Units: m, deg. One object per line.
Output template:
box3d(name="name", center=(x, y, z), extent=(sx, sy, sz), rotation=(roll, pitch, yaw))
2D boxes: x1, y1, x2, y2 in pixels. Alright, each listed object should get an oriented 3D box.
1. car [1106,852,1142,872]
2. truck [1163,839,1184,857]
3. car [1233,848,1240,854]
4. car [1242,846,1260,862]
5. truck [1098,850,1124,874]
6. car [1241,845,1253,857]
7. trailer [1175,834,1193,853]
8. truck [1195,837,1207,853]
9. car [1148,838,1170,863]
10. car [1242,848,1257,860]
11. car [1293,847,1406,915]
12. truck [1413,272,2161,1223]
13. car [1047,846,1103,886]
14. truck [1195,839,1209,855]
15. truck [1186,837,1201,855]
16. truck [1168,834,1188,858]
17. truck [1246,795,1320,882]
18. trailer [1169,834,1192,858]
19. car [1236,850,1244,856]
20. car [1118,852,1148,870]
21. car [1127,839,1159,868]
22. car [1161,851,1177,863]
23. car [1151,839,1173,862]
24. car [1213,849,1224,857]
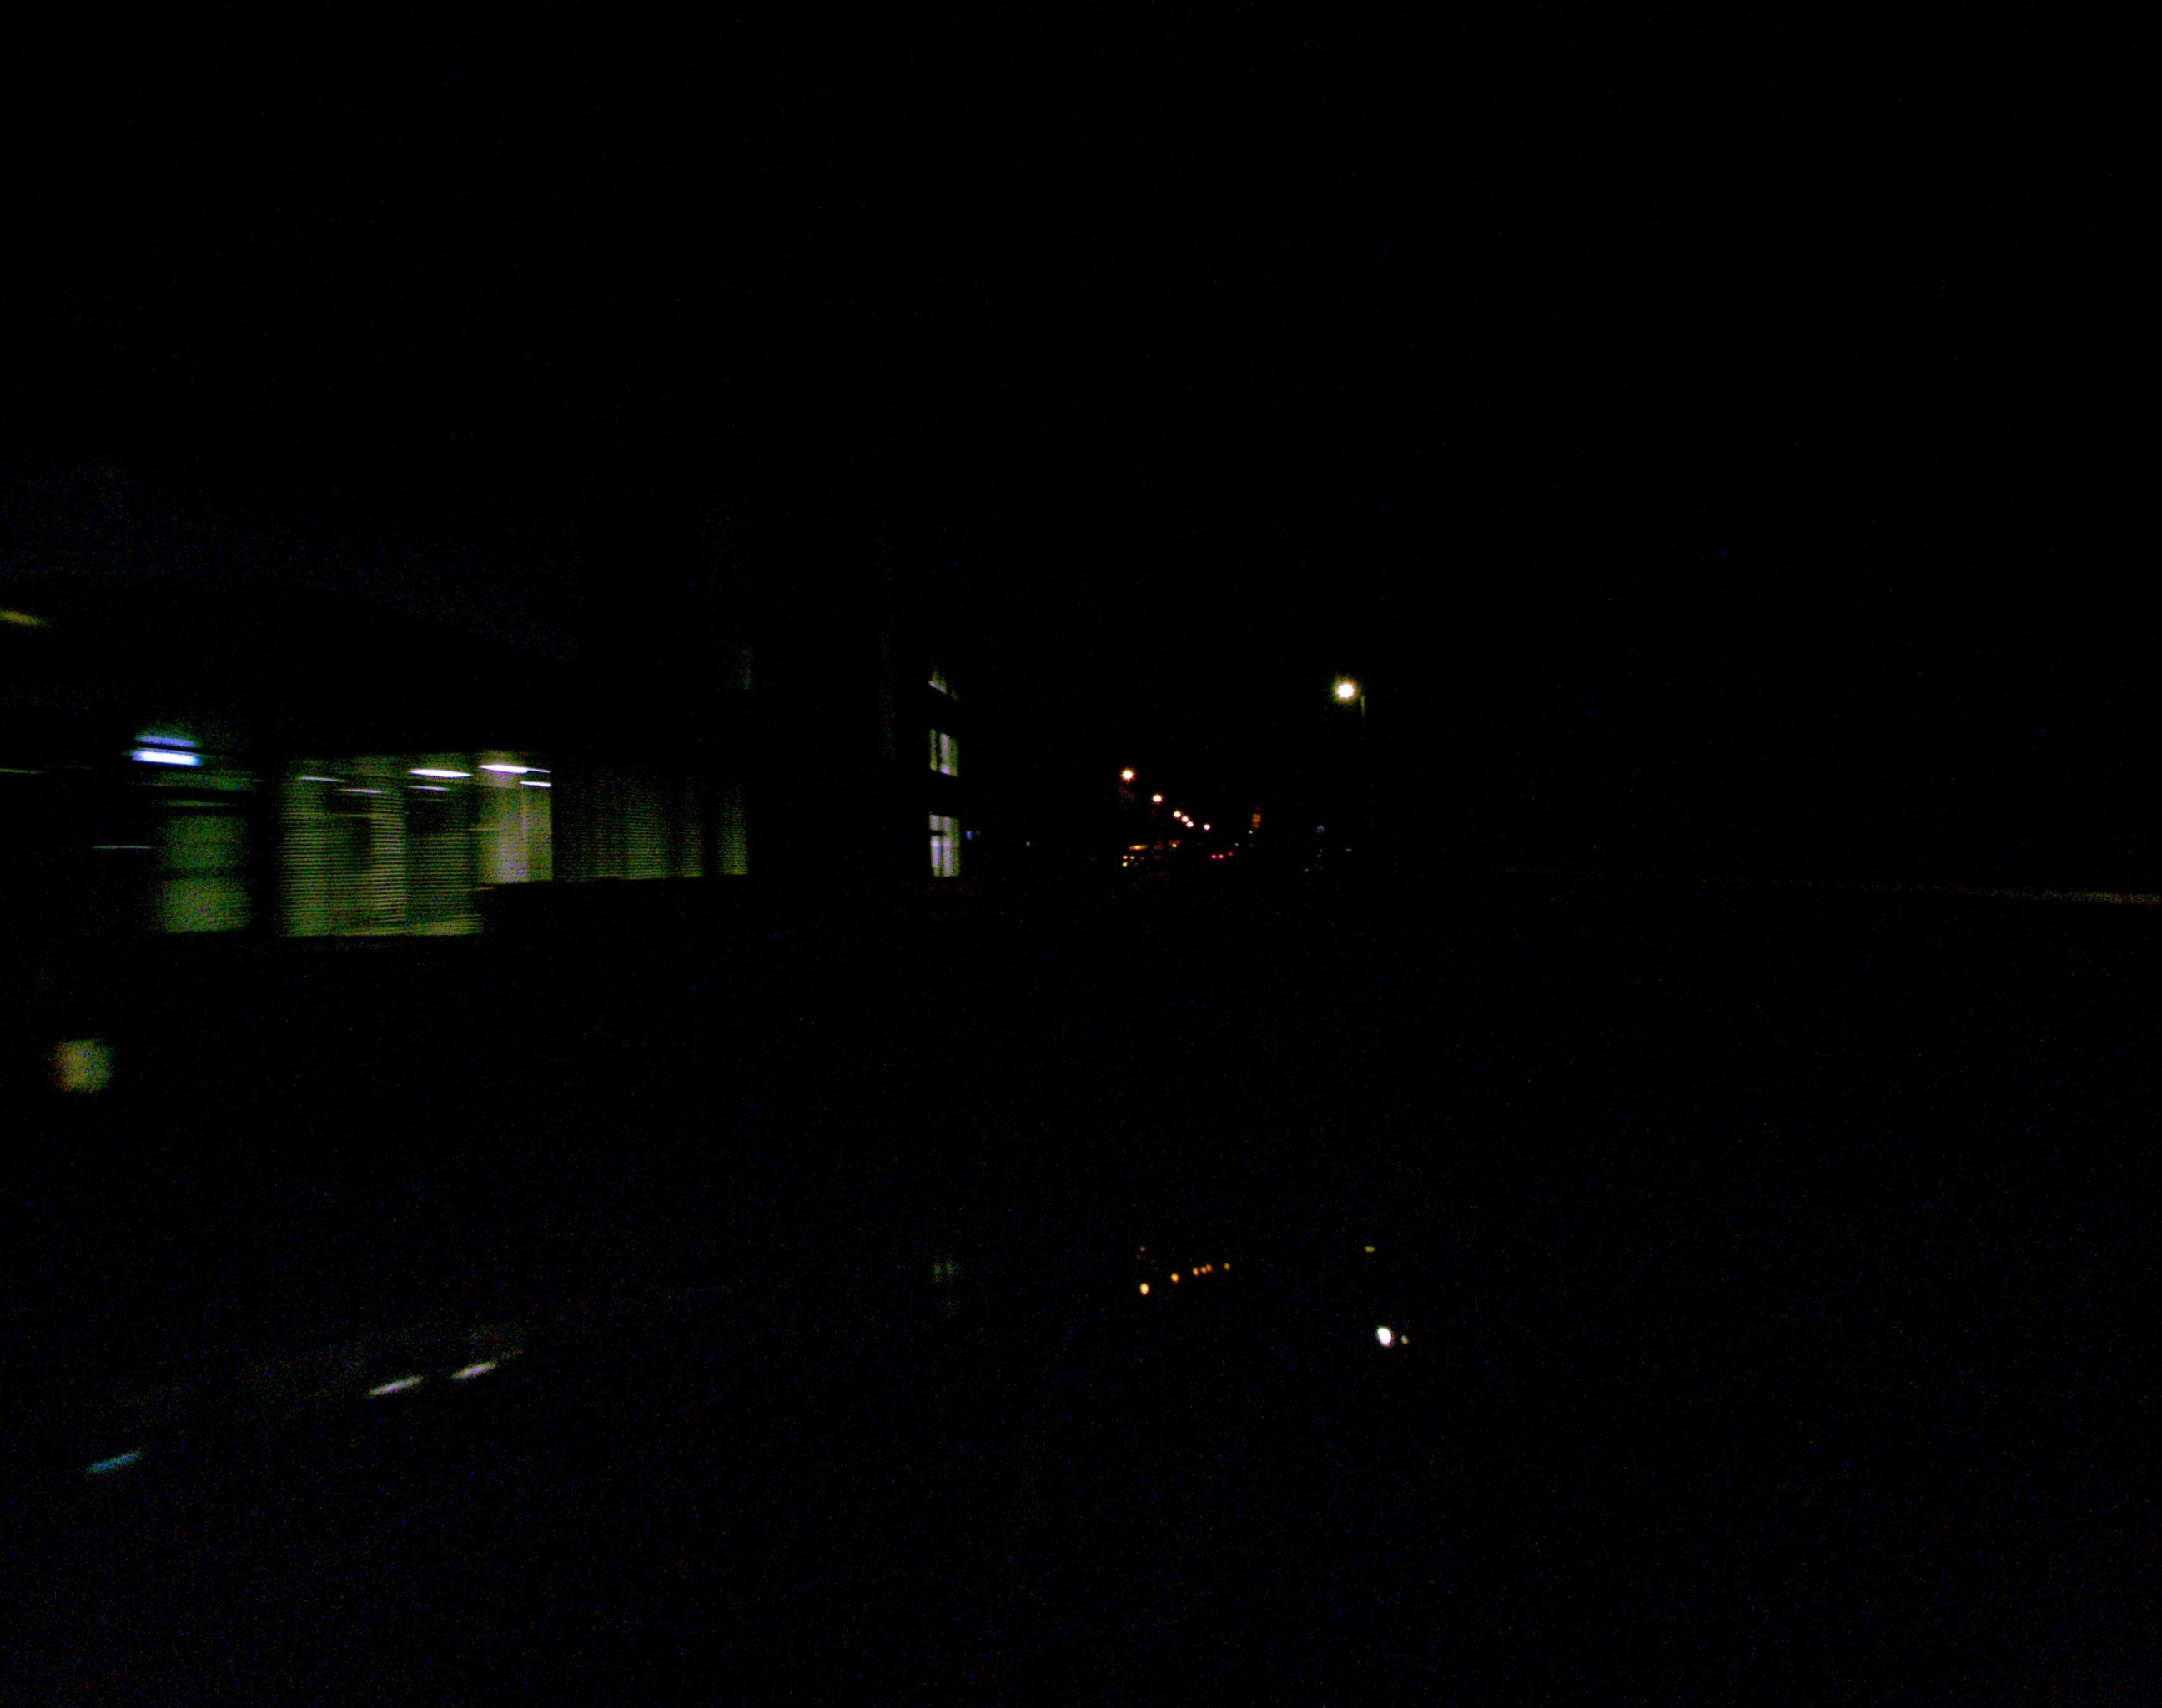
box3d(name="car", center=(3.403, 0.578, 58.979), extent=(1.949, 1.480, 5.015), rotation=(-1, 0, 13))
box3d(name="truck", center=(13.968, -0.853, 113.885), extent=(2.405, 2.579, 6.603), rotation=(-1, 0, 13))
box3d(name="car", center=(38.342, -0.863, 187.521), extent=(1.689, 1.357, 3.882), rotation=(-3, 0, 11))
box3d(name="car", center=(20.416, -0.053, 91.458), extent=(1.816, 1.838, 4.418), rotation=(-1, 1, 10))
box3d(name="truck", center=(2.168, 0.549, 54.194), extent=(1.372, 1.635, 3.815), rotation=(-1, 1, 10))
box3d(name="car", center=(25.516, -0.456, 116.868), extent=(1.807, 1.788, 4.882), rotation=(-1, 0, 11))
box3d(name="trailer", center=(20.274, -2.002, 148.954), extent=(2.883, 3.504, 8.290), rotation=(-1, 0, 11))
box3d(name="truck", center=(33.031, -2.520, 208.599), extent=(2.658, 3.850, 10.241), rotation=(-2, -2, 11))
box3d(name="car", center=(8.810, -0.383, 85.417), extent=(2.132, 2.556, 5.913), rotation=(-4, 0, 8))
box3d(name="car", center=(23.541, -0.001, 106.083), extent=(1.950, 1.678, 4.820), rotation=(-1, 0, 13))
box3d(name="car", center=(7.558, 0.686, 21.925), extent=(1.947, 1.707, 5.200), rotation=(-1, 0, 7))
box3d(name="truck", center=(6.310, -0.495, 7.182), extent=(2.778, 4.096, 9.343), rotation=(-1, 0, 4))
box3d(name="car", center=(-0.229, 0.585, 40.037), extent=(1.997, 2.002, 4.915), rotation=(-1, 0, 11))
box3d(name="truck", center=(35.067, -2.175, 220.011), extent=(3.070, 4.449, 5.640), rotation=(-2, 1, 15))
box3d(name="truck", center=(26.294, -1.896, 177.246), extent=(2.795, 3.946, 9.829), rotation=(-2, -1, 11))
box3d(name="truck", center=(15.777, -1.267, 123.629), extent=(2.770, 3.742, 5.232), rotation=(-2, 1, 11))
box3d(name="truck", center=(10.487, -0.760, 40.325), extent=(2.751, 4.010, 9.566), rotation=(-1, 0, 9))
box3d(name="trailer", center=(17.141, -1.377, 130.311), extent=(2.770, 3.742, 14.667), rotation=(-2, 0, 11))
box3d(name="car", center=(35.303, -0.186, 168.935), extent=(1.759, 1.382, 4.312), rotation=(-1, 0, 12))
box3d(name="car", center=(4.522, 0.566, 65.283), extent=(1.772, 1.404, 4.554), rotation=(-1, 0, 13))
box3d(name="car", center=(5.900, -0.039, 71.659), extent=(1.997, 2.511, 5.915), rotation=(-4, 0, 13))
box3d(name="car", center=(12.441, 0.405, 106.900), extent=(1.833, 1.399, 4.912), rotation=(-4, 0, 11))
box3d(name="car", center=(9.894, -0.376, 92.180), extent=(1.997, 2.556, 6.019), rotation=(-4, 0, 11))
box3d(name="car", center=(23.996, -0.196, 132.381), extent=(1.861, 1.412, 4.003), rotation=(-1, 0, 10))
